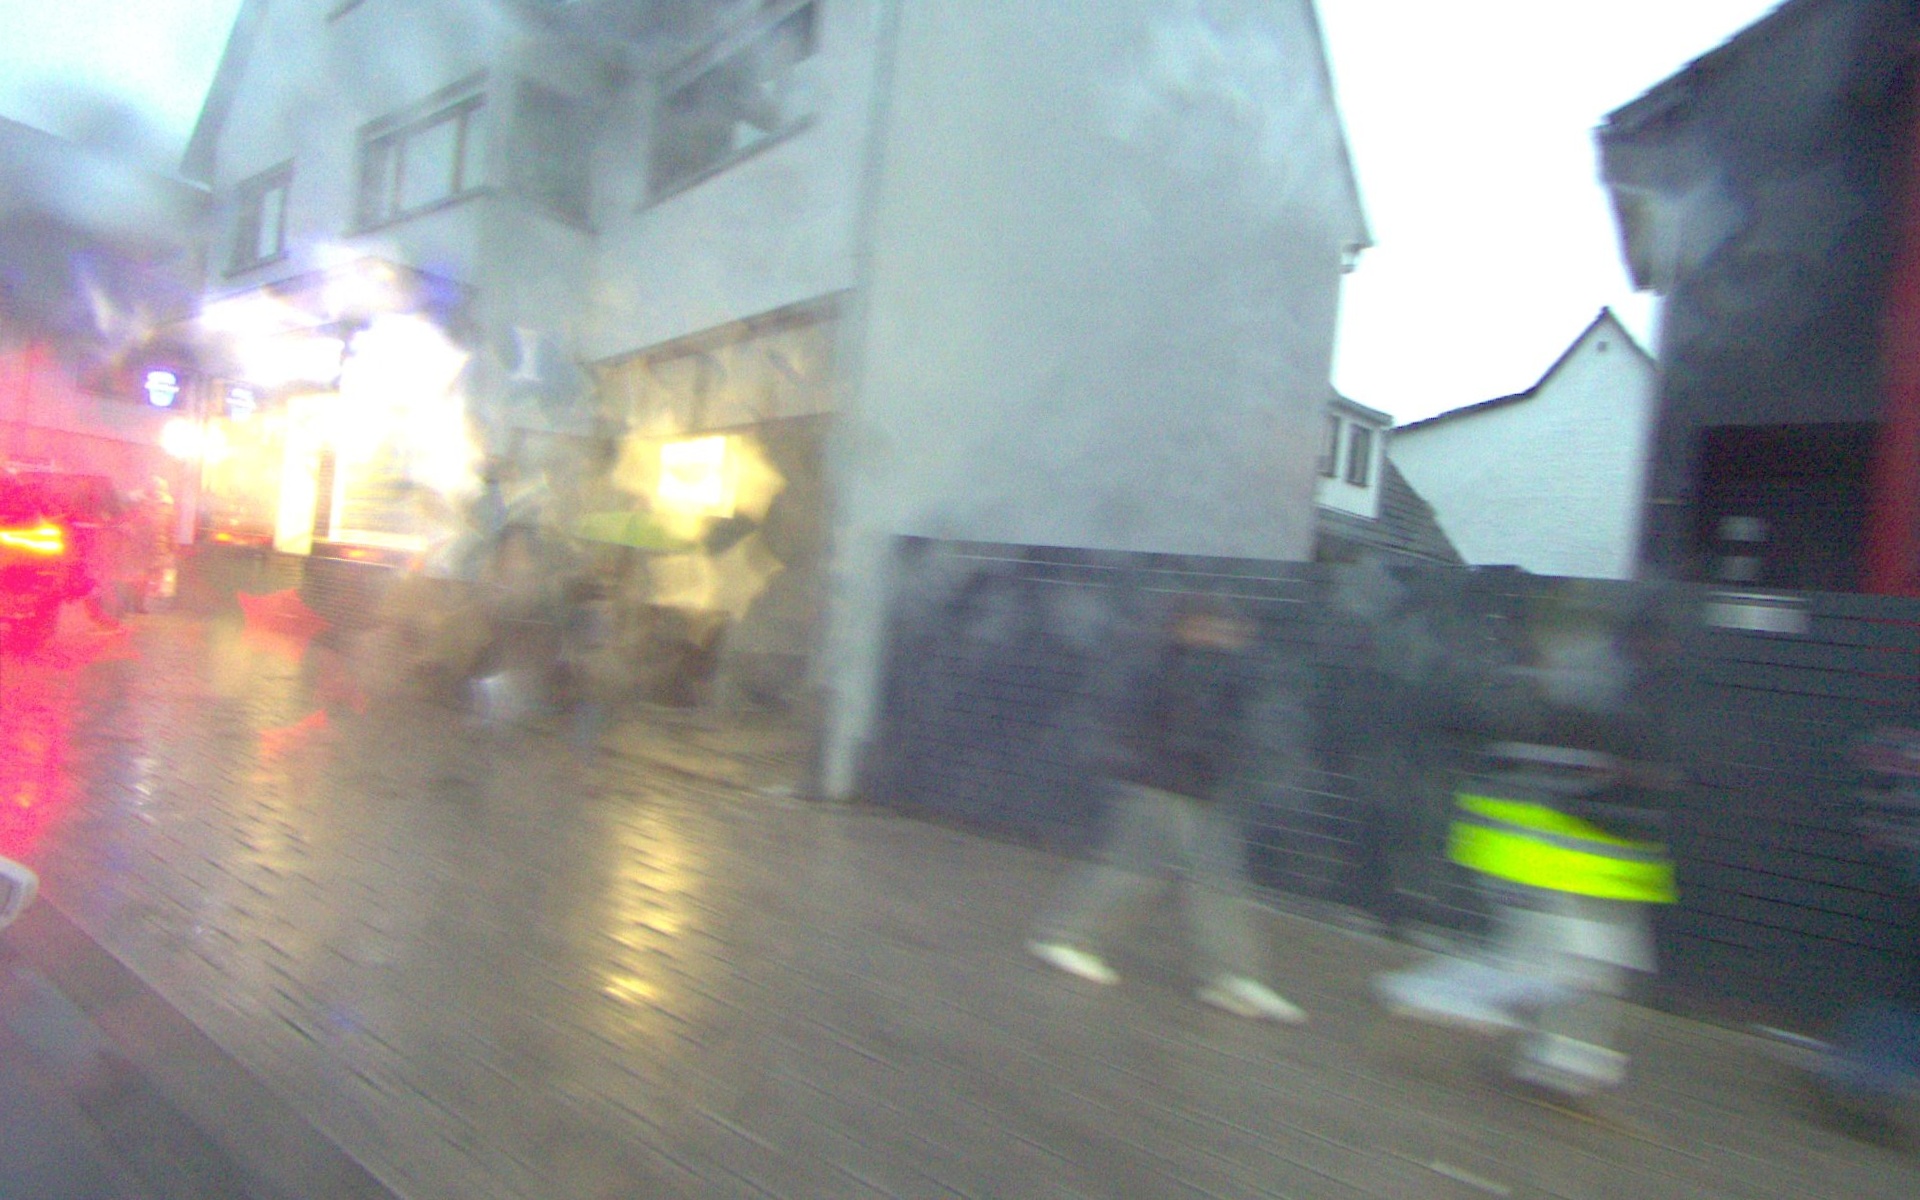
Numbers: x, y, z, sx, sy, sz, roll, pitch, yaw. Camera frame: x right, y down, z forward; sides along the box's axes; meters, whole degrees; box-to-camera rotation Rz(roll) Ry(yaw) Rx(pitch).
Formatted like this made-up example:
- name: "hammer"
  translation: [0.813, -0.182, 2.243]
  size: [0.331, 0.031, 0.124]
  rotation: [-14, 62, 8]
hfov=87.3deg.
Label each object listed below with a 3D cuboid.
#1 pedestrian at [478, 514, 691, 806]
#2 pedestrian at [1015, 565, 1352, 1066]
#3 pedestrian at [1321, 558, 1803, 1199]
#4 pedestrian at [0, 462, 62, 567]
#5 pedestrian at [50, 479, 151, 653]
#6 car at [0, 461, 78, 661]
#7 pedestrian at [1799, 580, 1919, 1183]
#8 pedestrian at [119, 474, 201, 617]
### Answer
- name: "pedestrian"
  translation: [-2.363, 0.363, 6.372]
  size: [0.889, 1.646, 0.620]
  rotation: [8, 1, 20]
- name: "pedestrian"
  translation: [0.853, 0.747, 3.918]
  size: [1.002, 1.651, 0.479]
  rotation: [7, 2, 34]
- name: "pedestrian"
  translation: [1.922, 0.795, 3.272]
  size: [0.710, 1.737, 1.021]
  rotation: [5, 2, -43]
- name: "pedestrian"
  translation: [-14.859, -1.355, 15.888]
  size: [0.720, 1.534, 0.620]
  rotation: [8, 1, 20]
- name: "pedestrian"
  translation: [-8.900, -0.342, 10.422]
  size: [0.642, 1.722, 0.573]
  rotation: [6, 2, 34]
- name: "car"
  translation: [-10.305, -0.558, 9.491]
  size: [4.314, 1.713, 1.737]
  rotation: [6, 0, 32]
- name: "pedestrian"
  translation: [3.297, 0.902, 3.144]
  size: [0.853, 1.822, 0.528]
  rotation: [7, -1, 43]
- name: "pedestrian"
  translation: [-10.352, -0.685, 13.017]
  size: [0.495, 1.746, 0.617]
  rotation: [3, -3, 45]
